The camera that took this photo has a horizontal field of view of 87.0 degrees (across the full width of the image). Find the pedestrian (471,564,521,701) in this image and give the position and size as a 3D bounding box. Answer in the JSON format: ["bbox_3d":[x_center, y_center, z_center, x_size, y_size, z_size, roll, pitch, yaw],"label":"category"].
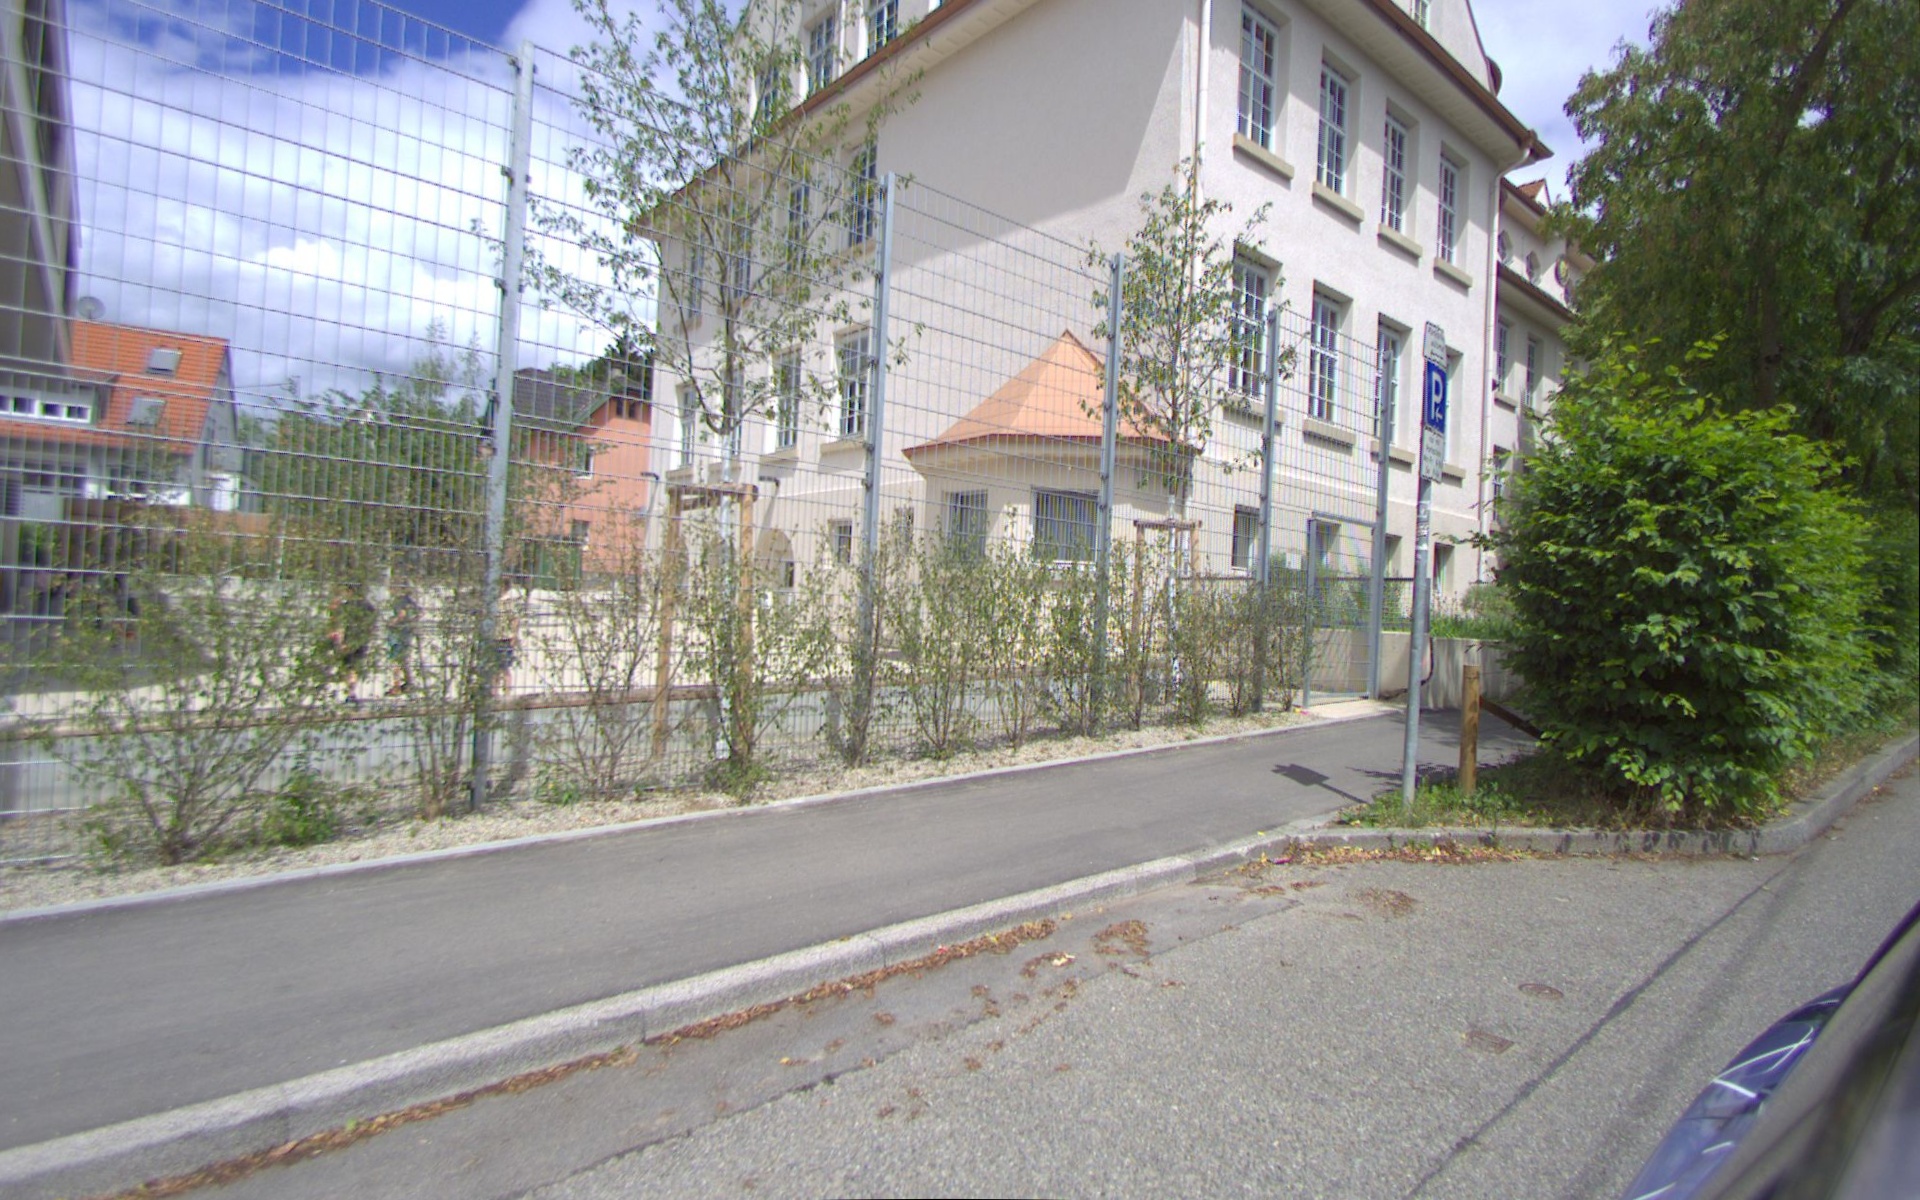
[{"bbox_3d":[-4.651,0.316,10.137,0.370,1.345,0.313,1,0,42],"label":"pedestrian"}]

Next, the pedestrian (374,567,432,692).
[{"bbox_3d":[-6.159,0.316,11.193,0.370,1.345,0.437,1,0,41],"label":"pedestrian"}]

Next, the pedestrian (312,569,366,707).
[{"bbox_3d":[-6.179,0.366,10.067,0.370,1.345,0.346,1,0,41],"label":"pedestrian"}]

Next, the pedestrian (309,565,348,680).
[{"bbox_3d":[-8.028,0.283,12.873,0.361,1.434,0.293,1,0,-41],"label":"pedestrian"}]
